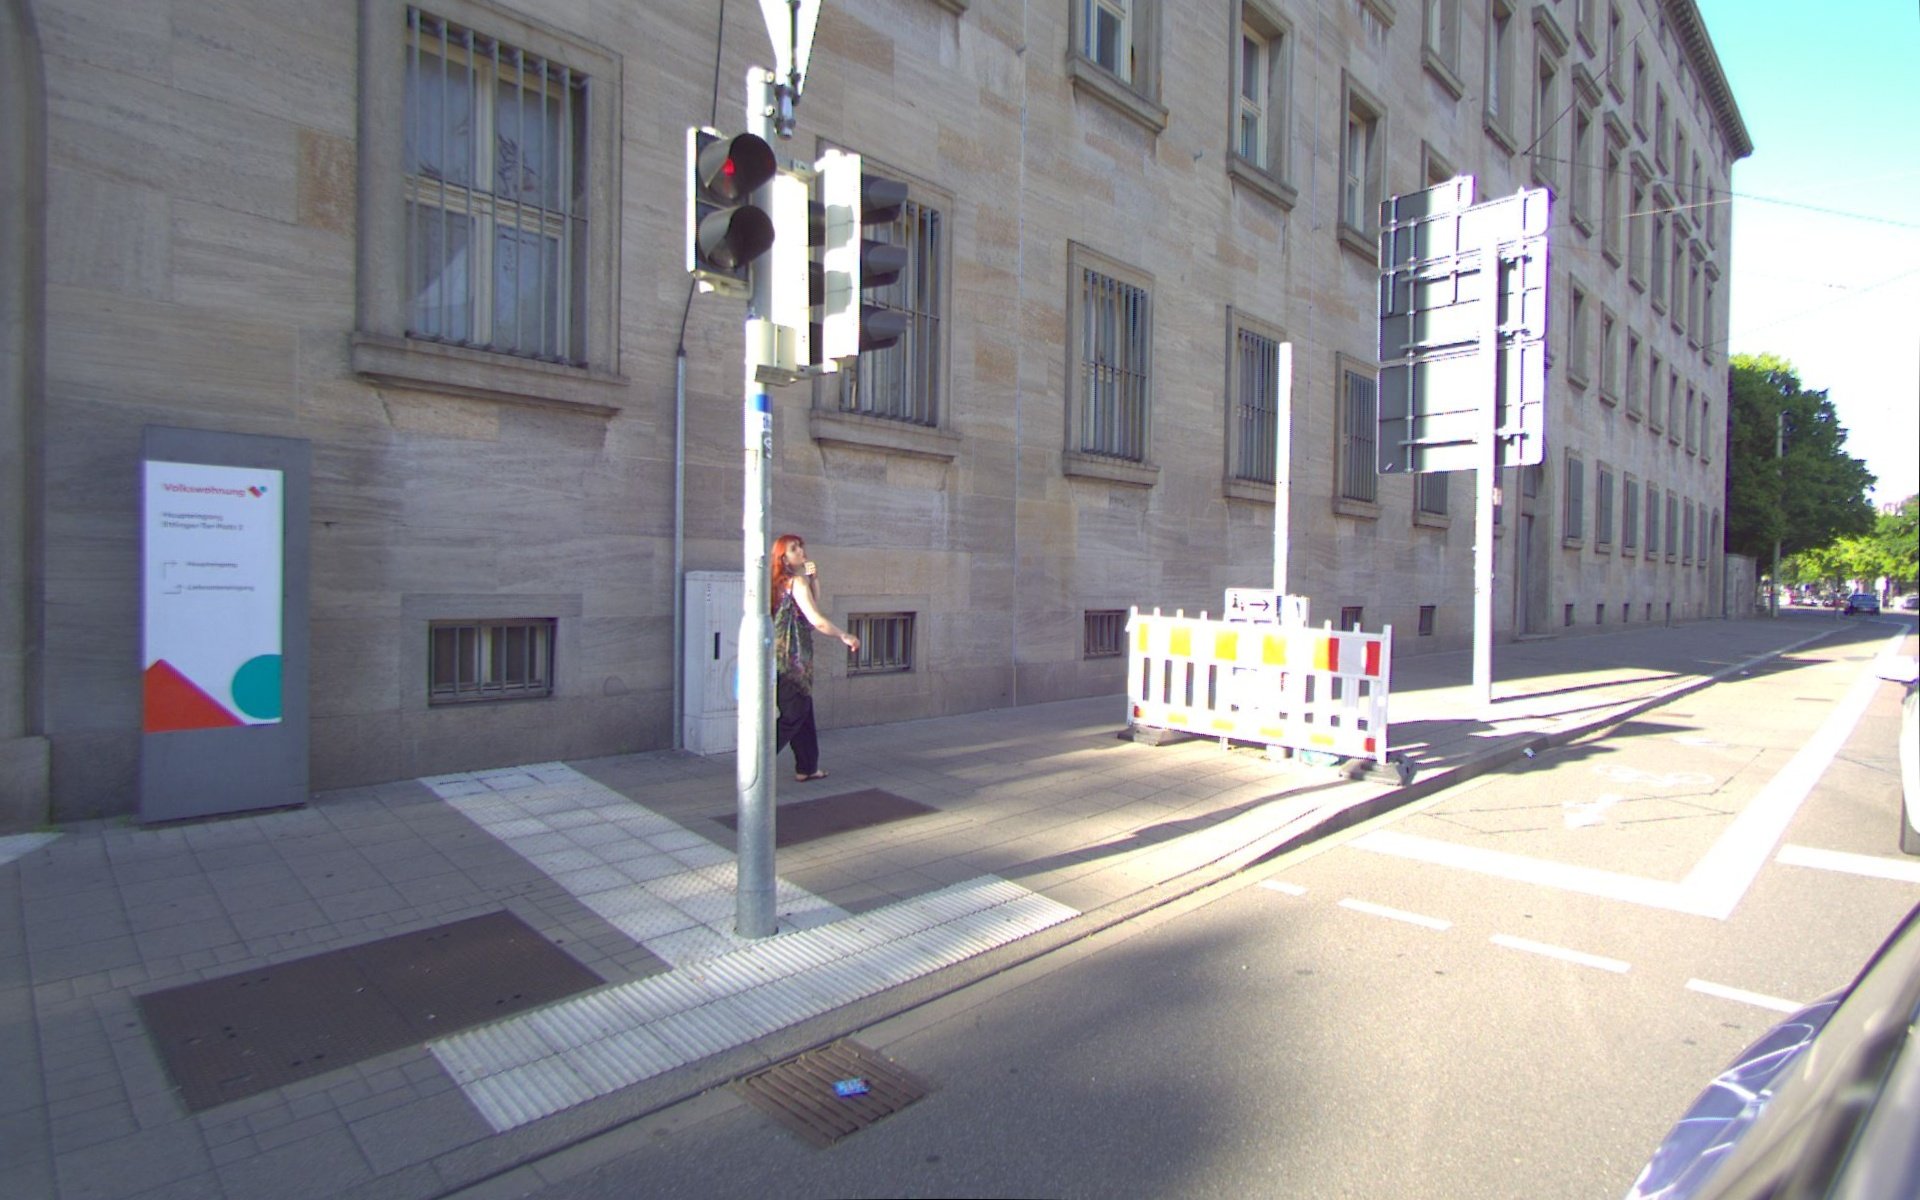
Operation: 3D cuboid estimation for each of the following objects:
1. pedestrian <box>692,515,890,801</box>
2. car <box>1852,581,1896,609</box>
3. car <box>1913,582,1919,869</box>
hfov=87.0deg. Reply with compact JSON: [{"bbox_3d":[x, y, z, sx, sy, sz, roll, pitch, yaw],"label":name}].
[{"bbox_3d":[-1.080,0.321,6.465,0.904,1.640,0.737,0,6,-45],"label":"pedestrian"},{"bbox_3d":[68.123,-0.396,75.476,1.746,2.039,3.664,2,1,32],"label":"car"},{"bbox_3d":[6.861,0.628,6.017,1.674,1.482,3.705,0,1,44],"label":"car"}]
